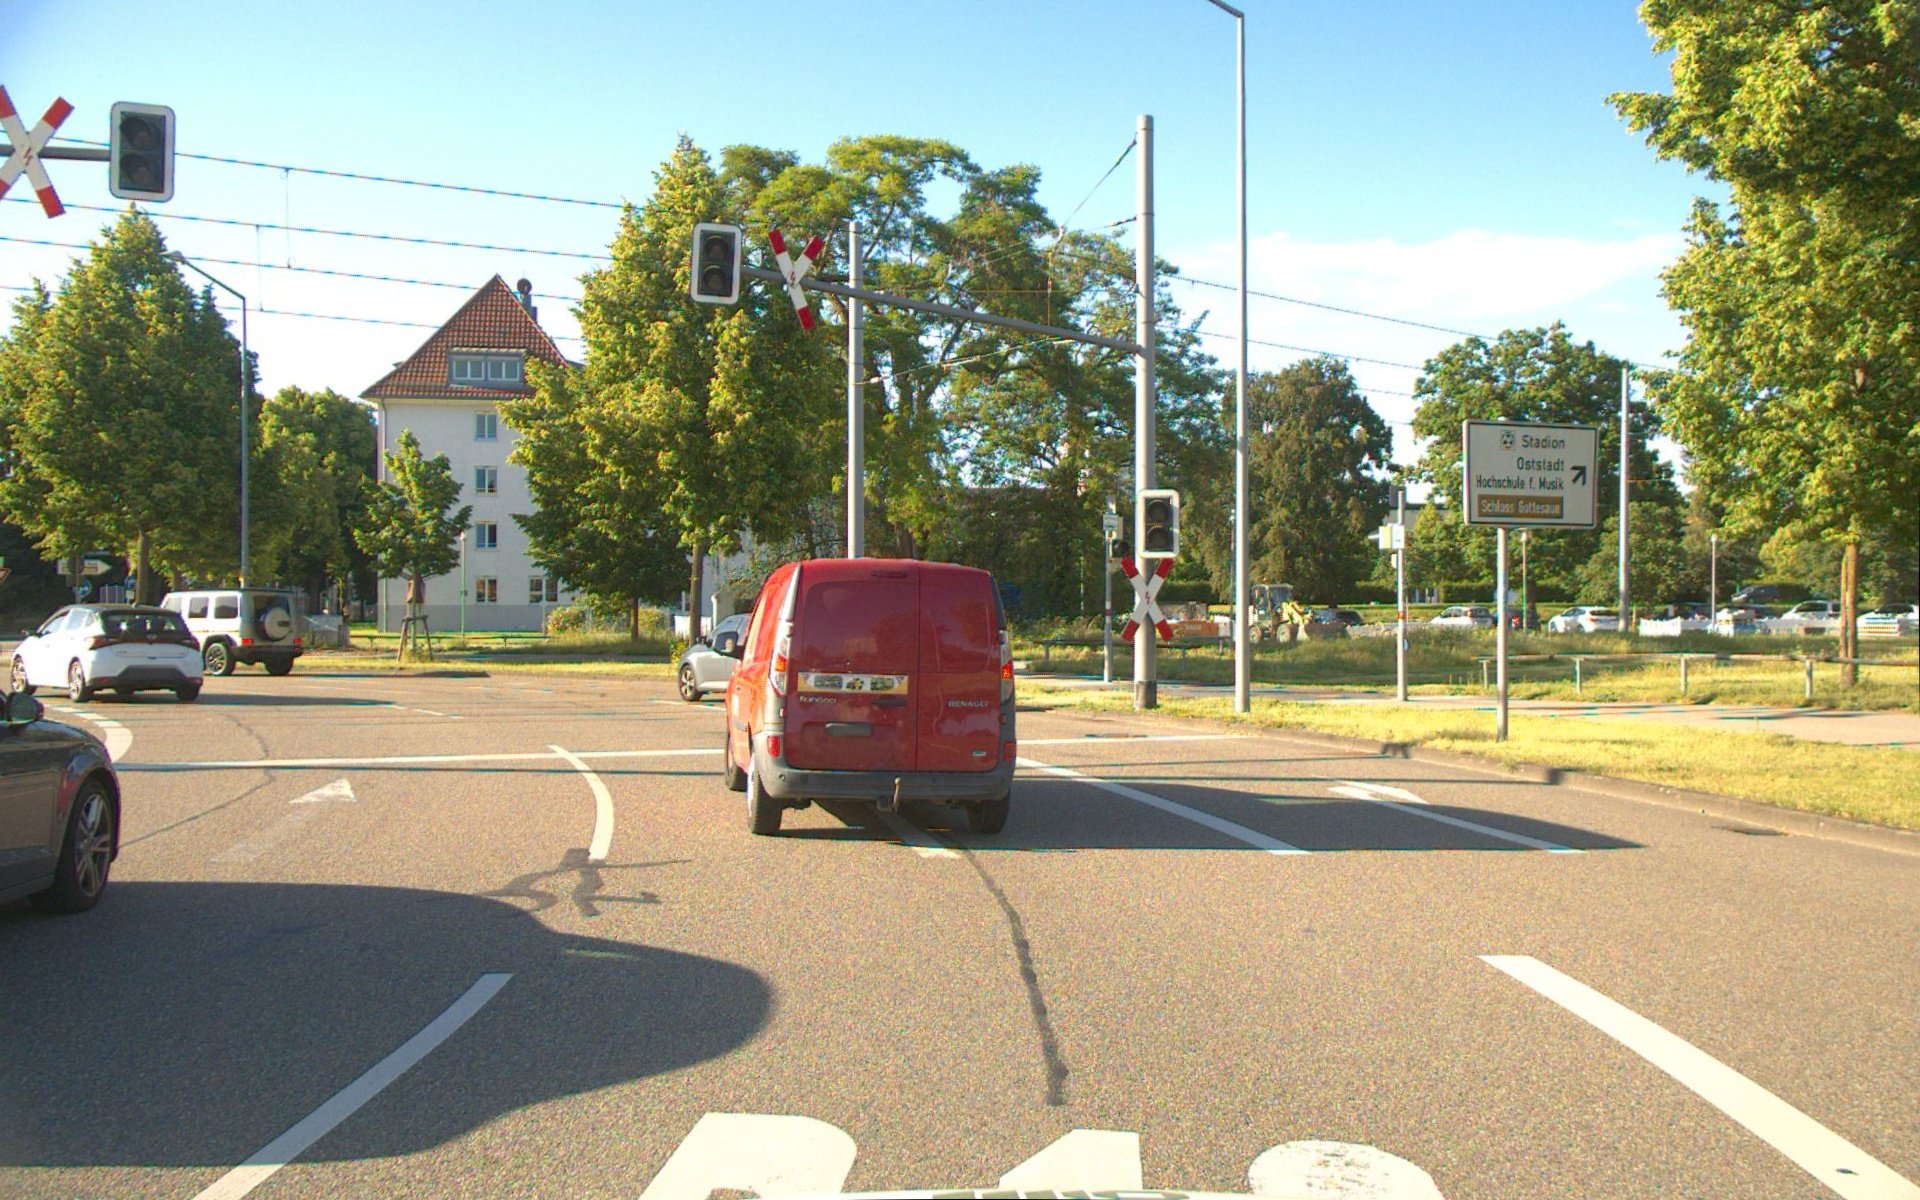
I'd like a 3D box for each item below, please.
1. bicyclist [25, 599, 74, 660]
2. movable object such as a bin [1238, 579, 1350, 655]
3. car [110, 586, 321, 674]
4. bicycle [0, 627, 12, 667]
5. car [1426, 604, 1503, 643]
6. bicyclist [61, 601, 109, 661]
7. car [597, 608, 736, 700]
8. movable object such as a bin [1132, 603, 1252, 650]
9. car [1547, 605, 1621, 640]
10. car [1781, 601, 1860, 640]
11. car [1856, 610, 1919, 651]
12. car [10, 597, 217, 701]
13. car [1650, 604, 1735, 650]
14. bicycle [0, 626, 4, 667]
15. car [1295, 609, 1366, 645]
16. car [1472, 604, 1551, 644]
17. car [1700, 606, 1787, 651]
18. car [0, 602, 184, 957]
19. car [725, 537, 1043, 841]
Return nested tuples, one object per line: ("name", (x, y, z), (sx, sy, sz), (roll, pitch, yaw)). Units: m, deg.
("bicyclist", (-28.461, 0.934, 51.721), (1.001, 1.885, 0.813), (0, -3, 6))
("movable object such as a bin", (13.102, 0.722, 65.143), (1.965, 2.838, 5.015), (2, -3, -21))
("car", (-17.236, 0.709, 38.282), (4.645, 1.930, 2.001), (-1, -1, 27))
("bicycle", (-31.907, 1.494, 53.270), (2.158, 1.288, 0.884), (1, -2, -2))
("car", (24.411, 1.180, 80.206), (1.958, 1.754, 3.989), (1, -2, -11))
("bicyclist", (-27.935, 0.984, 52.807), (1.001, 1.885, 0.813), (0, -3, 6))
("car", (-5.162, 0.896, 28.684), (1.689, 1.461, 4.127), (1, -1, -20))
("movable object such as a bin", (10.468, 1.230, 74.580), (4.929, 1.982, 2.227), (1, -3, -19))
("car", (30.502, 1.122, 80.965), (1.793, 1.583, 3.798), (1, -2, -9))
("car", (43.429, 1.055, 83.572), (1.657, 1.811, 3.840), (1, -2, -7))
("car", (48.107, 1.581, 84.556), (1.958, 1.994, 3.989), (1, -2, -11))
("car", (-13.207, 0.743, 25.724), (1.795, 1.487, 3.746), (3, -2, -45))
("car", (36.161, 1.375, 81.771), (1.958, 2.137, 3.989), (1, -2, -11))
("bicycle", (-31.441, 1.451, 52.048), (2.158, 1.288, 0.884), (1, -2, -2))
("car", (17.338, 1.294, 77.549), (1.885, 1.584, 3.940), (1, -2, -11))
("car", (26.620, 1.170, 79.938), (1.958, 1.800, 3.989), (1, -2, -11))
("car", (38.972, 1.432, 82.398), (1.958, 2.137, 3.989), (1, -2, -11))
("car", (-4.628, 0.699, 6.216), (1.726, 1.404, 4.353), (1, -1, -6))
("car", (-0.716, 0.561, 12.093), (1.770, 1.845, 3.799), (2, 0, -11))
